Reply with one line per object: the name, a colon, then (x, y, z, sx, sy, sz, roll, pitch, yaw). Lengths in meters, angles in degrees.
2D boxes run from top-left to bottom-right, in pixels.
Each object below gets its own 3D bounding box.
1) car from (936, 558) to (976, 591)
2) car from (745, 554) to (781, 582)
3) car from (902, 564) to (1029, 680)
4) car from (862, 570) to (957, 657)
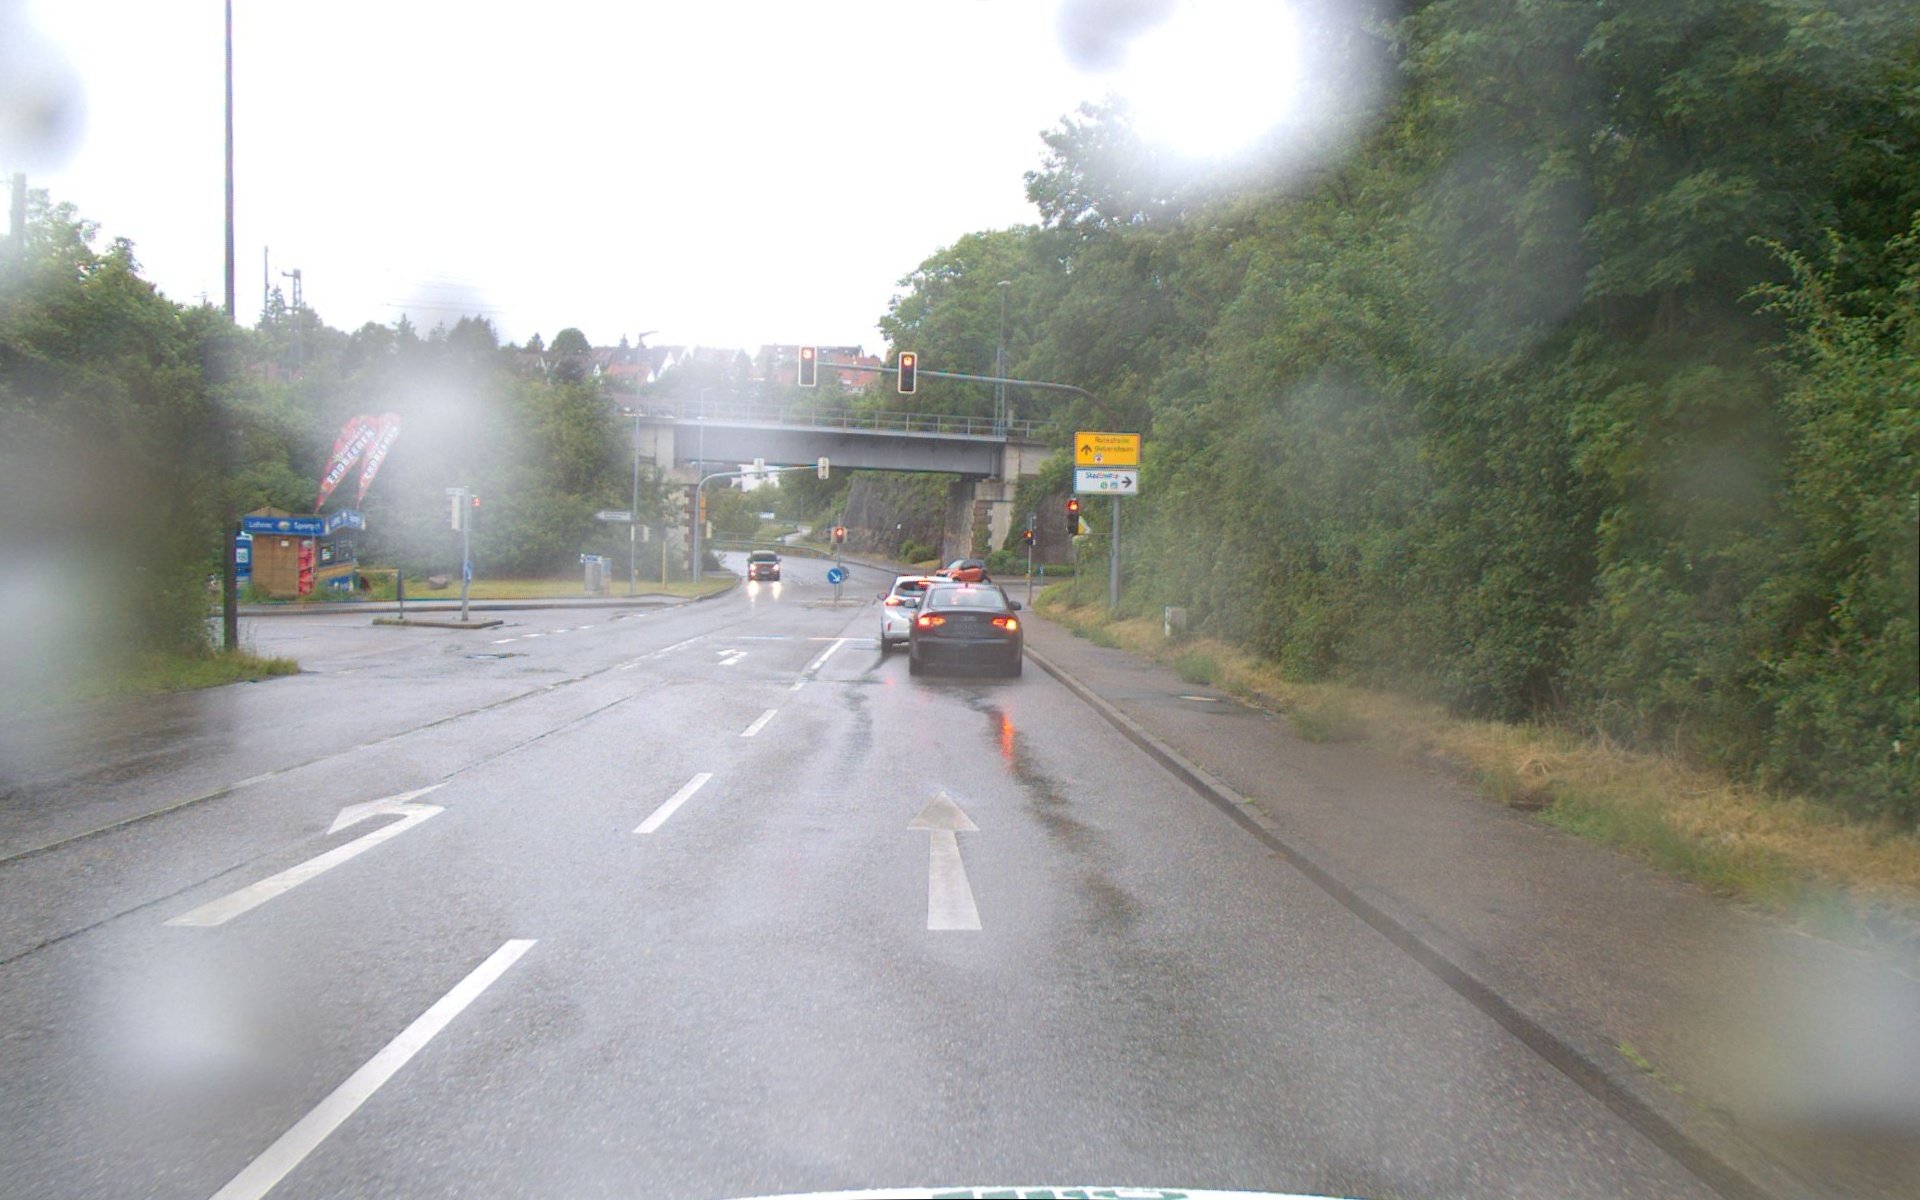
car: (-0.229, -1.280, 85.068, 1.953, 1.613, 3.999, 1, 0, -1)
car: (-11.852, -1.936, 99.314, 1.957, 1.656, 3.992, 0, 2, -9)
car: (0.046, 0.292, 26.455, 1.832, 1.644, 3.999, 2, 1, -1)
car: (-0.996, 0.255, 33.141, 1.786, 1.613, 3.999, 1, 0, -1)
